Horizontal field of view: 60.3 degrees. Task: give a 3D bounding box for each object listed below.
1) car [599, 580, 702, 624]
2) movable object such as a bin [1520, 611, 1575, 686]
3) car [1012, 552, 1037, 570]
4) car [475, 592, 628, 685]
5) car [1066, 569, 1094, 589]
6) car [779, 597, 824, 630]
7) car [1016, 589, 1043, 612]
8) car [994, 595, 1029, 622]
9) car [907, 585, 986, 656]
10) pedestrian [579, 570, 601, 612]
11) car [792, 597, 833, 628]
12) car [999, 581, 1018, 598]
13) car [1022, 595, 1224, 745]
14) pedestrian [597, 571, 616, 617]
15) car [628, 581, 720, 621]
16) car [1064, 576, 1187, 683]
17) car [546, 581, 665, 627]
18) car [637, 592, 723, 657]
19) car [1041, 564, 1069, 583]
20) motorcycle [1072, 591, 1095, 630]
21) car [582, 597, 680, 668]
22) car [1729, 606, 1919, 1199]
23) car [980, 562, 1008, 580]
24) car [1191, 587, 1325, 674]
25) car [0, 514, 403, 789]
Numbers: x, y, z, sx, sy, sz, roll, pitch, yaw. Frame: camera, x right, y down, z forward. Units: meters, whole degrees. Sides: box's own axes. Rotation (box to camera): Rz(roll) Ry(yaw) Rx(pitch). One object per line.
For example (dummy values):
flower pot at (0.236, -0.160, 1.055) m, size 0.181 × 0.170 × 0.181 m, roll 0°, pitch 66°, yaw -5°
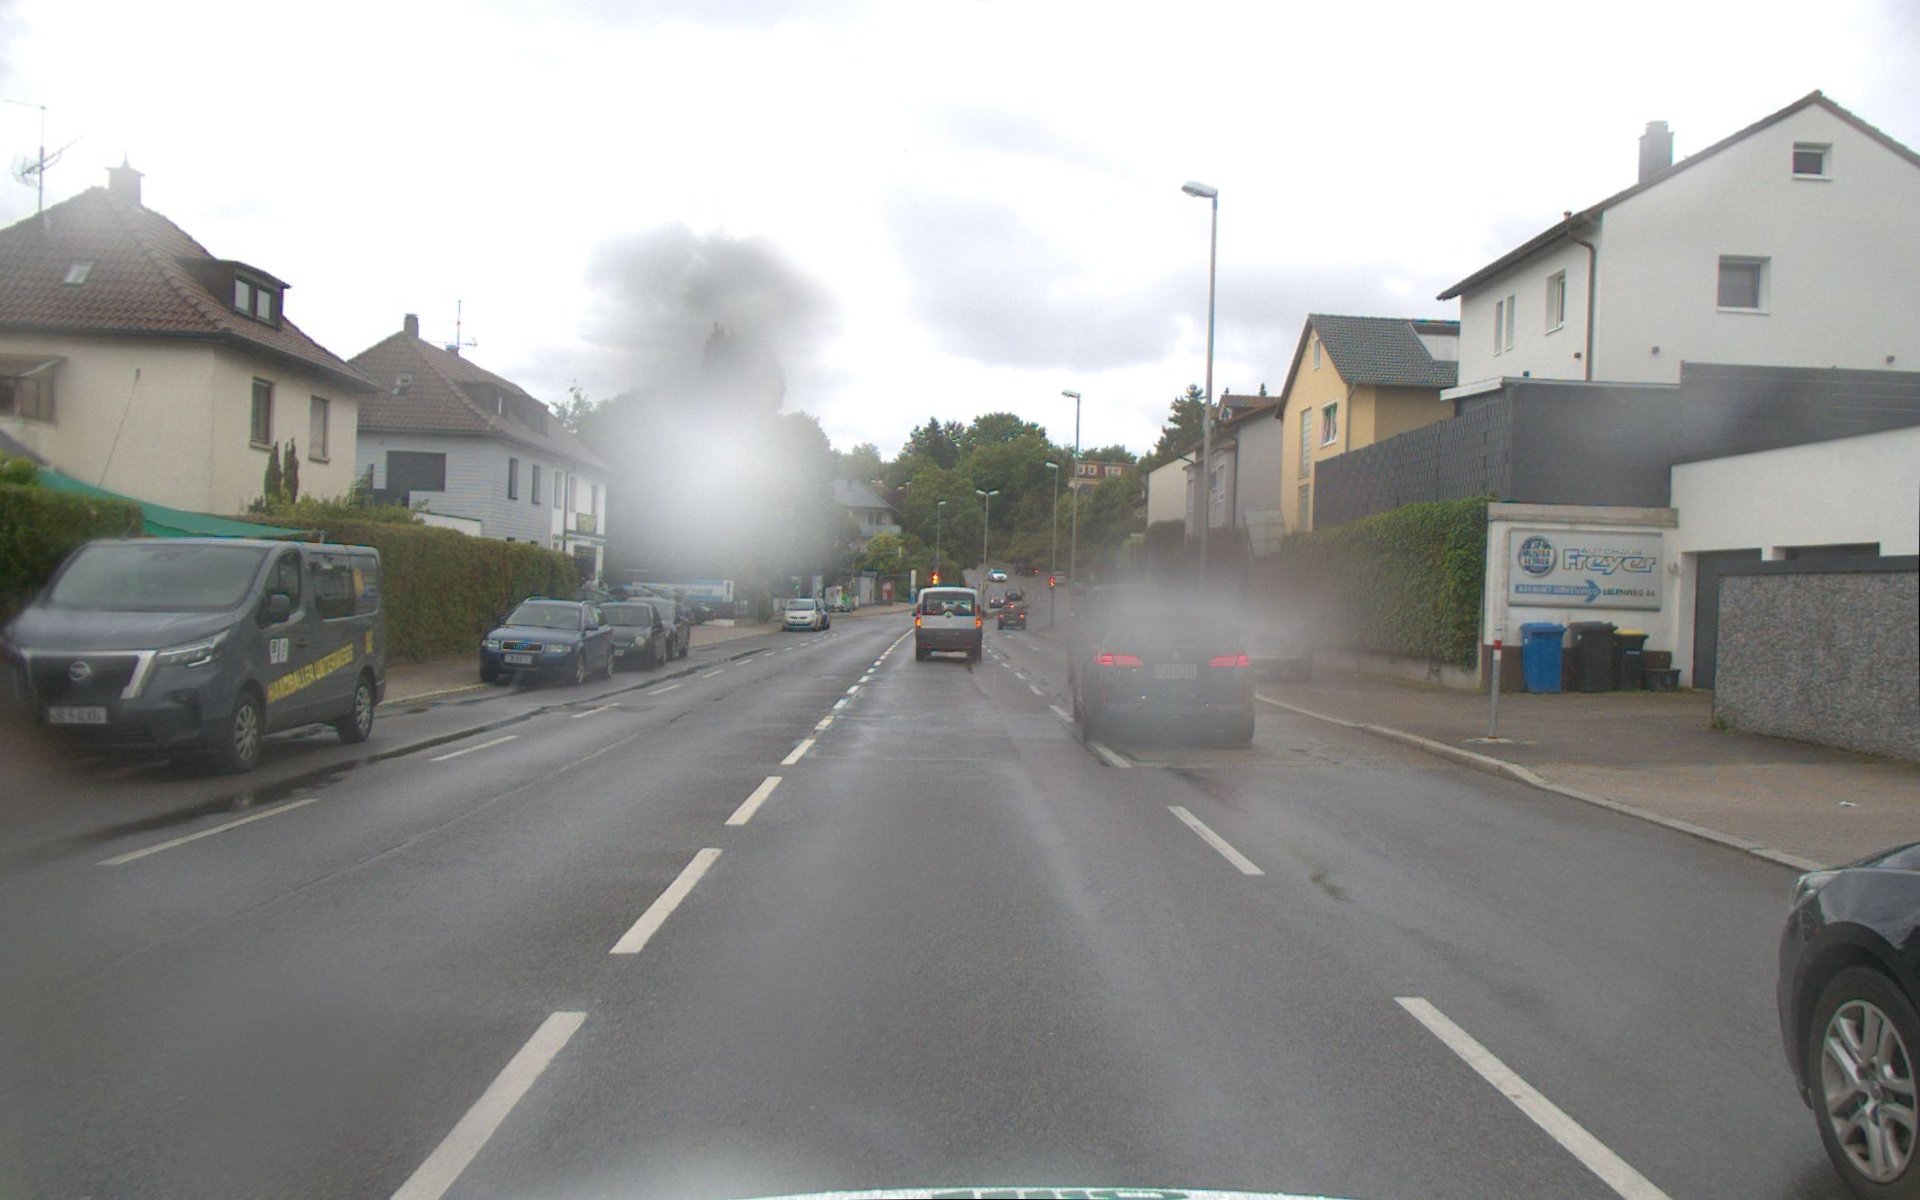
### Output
car at (-13.387, 0.073, 71.660) m, size 3.991 × 1.542 × 1.855 m, roll 5°, pitch 0°, yaw -1°
movable object such as a bin at (9.154, 0.754, 25.769) m, size 0.583 × 1.124 × 0.667 m, roll -2°, pitch 0°, yaw -1°
car at (8.806, -5.382, 226.671) m, size 2.475 × 2.047 × 5.602 m, roll 2°, pitch 5°, yaw -8°
car at (-7.368, 0.660, 30.252) m, size 1.721 × 1.559 × 4.286 m, roll 1°, pitch 0°, yaw 0°
car at (13.908, -2.421, 192.365) m, size 2.472 × 2.048 × 5.605 m, roll 1°, pitch 3°, yaw -4°
car at (-7.927, 0.655, 82.966) m, size 1.846 × 1.613 × 3.999 m, roll 1°, pitch 0°, yaw 0°
car at (7.019, 0.021, 168.137) m, size 2.470 × 2.048 × 5.609 m, roll 1°, pitch 3°, yaw 0°
car at (3.123, 0.498, 101.323) m, size 1.953 × 1.606 × 3.999 m, roll -1°, pitch 0°, yaw -1°
car at (-0.343, 0.516, 43.706) m, size 1.953 × 1.768 × 4.000 m, roll 1°, pitch 0°, yaw 0°
pedestrian at (-15.176, -0.368, 67.836) m, size 0.588 × 1.694 × 0.650 m, roll 4°, pitch 0°, yaw 7°
car at (-8.012, 0.648, 90.029) m, size 1.846 × 1.613 × 3.999 m, roll 1°, pitch 0°, yaw 0°
car at (5.344, -1.140, 181.771) m, size 1.953 × 1.803 × 4.000 m, roll -1°, pitch 1°, yaw -1°
car at (1.745, 0.723, 18.950) m, size 1.952 × 1.510 × 4.000 m, roll 1°, pitch 0°, yaw 1°
pedestrian at (-14.375, -0.233, 67.312) m, size 0.589 × 1.822 × 0.649 m, roll 4°, pitch 0°, yaw -6°
car at (-13.595, 0.044, 78.760) m, size 3.991 × 1.542 × 1.855 m, roll 5°, pitch 0°, yaw -1°
car at (2.941, 0.504, 30.090) m, size 1.801 × 1.798 × 4.000 m, roll 1°, pitch 0°, yaw 0°
car at (-13.184, 0.157, 61.632) m, size 3.990 × 1.542 × 1.855 m, roll 2°, pitch 0°, yaw -1°
car at (-7.105, 0.597, 42.256) m, size 1.722 × 1.559 × 4.205 m, roll 1°, pitch 0°, yaw -4°
car at (12.071, -3.348, 210.555) m, size 2.474 × 2.048 × 5.601 m, roll 1°, pitch 4°, yaw -8°
motorcycle at (5.010, 0.432, 67.191) m, size 0.689 × 1.536 × 2.150 m, roll -2°, pitch 0°, yaw 0°
car at (-7.172, 0.672, 36.390) m, size 1.520 × 1.456 × 4.012 m, roll 1°, pitch 0°, yaw -3°
car at (3.151, 0.766, 2.900) m, size 1.720 × 1.475 × 4.000 m, roll 1°, pitch 0°, yaw 0°
car at (4.408, -3.818, 215.552) m, size 2.477 × 2.048 × 5.595 m, roll 1°, pitch 3°, yaw -11°
car at (5.644, 0.550, 31.836) m, size 1.666 × 1.536 × 4.533 m, roll 1°, pitch 0°, yaw -1°
car at (-6.733, 0.390, 14.919) m, size 1.874 × 2.038 × 5.085 m, roll 1°, pitch 0°, yaw -3°
